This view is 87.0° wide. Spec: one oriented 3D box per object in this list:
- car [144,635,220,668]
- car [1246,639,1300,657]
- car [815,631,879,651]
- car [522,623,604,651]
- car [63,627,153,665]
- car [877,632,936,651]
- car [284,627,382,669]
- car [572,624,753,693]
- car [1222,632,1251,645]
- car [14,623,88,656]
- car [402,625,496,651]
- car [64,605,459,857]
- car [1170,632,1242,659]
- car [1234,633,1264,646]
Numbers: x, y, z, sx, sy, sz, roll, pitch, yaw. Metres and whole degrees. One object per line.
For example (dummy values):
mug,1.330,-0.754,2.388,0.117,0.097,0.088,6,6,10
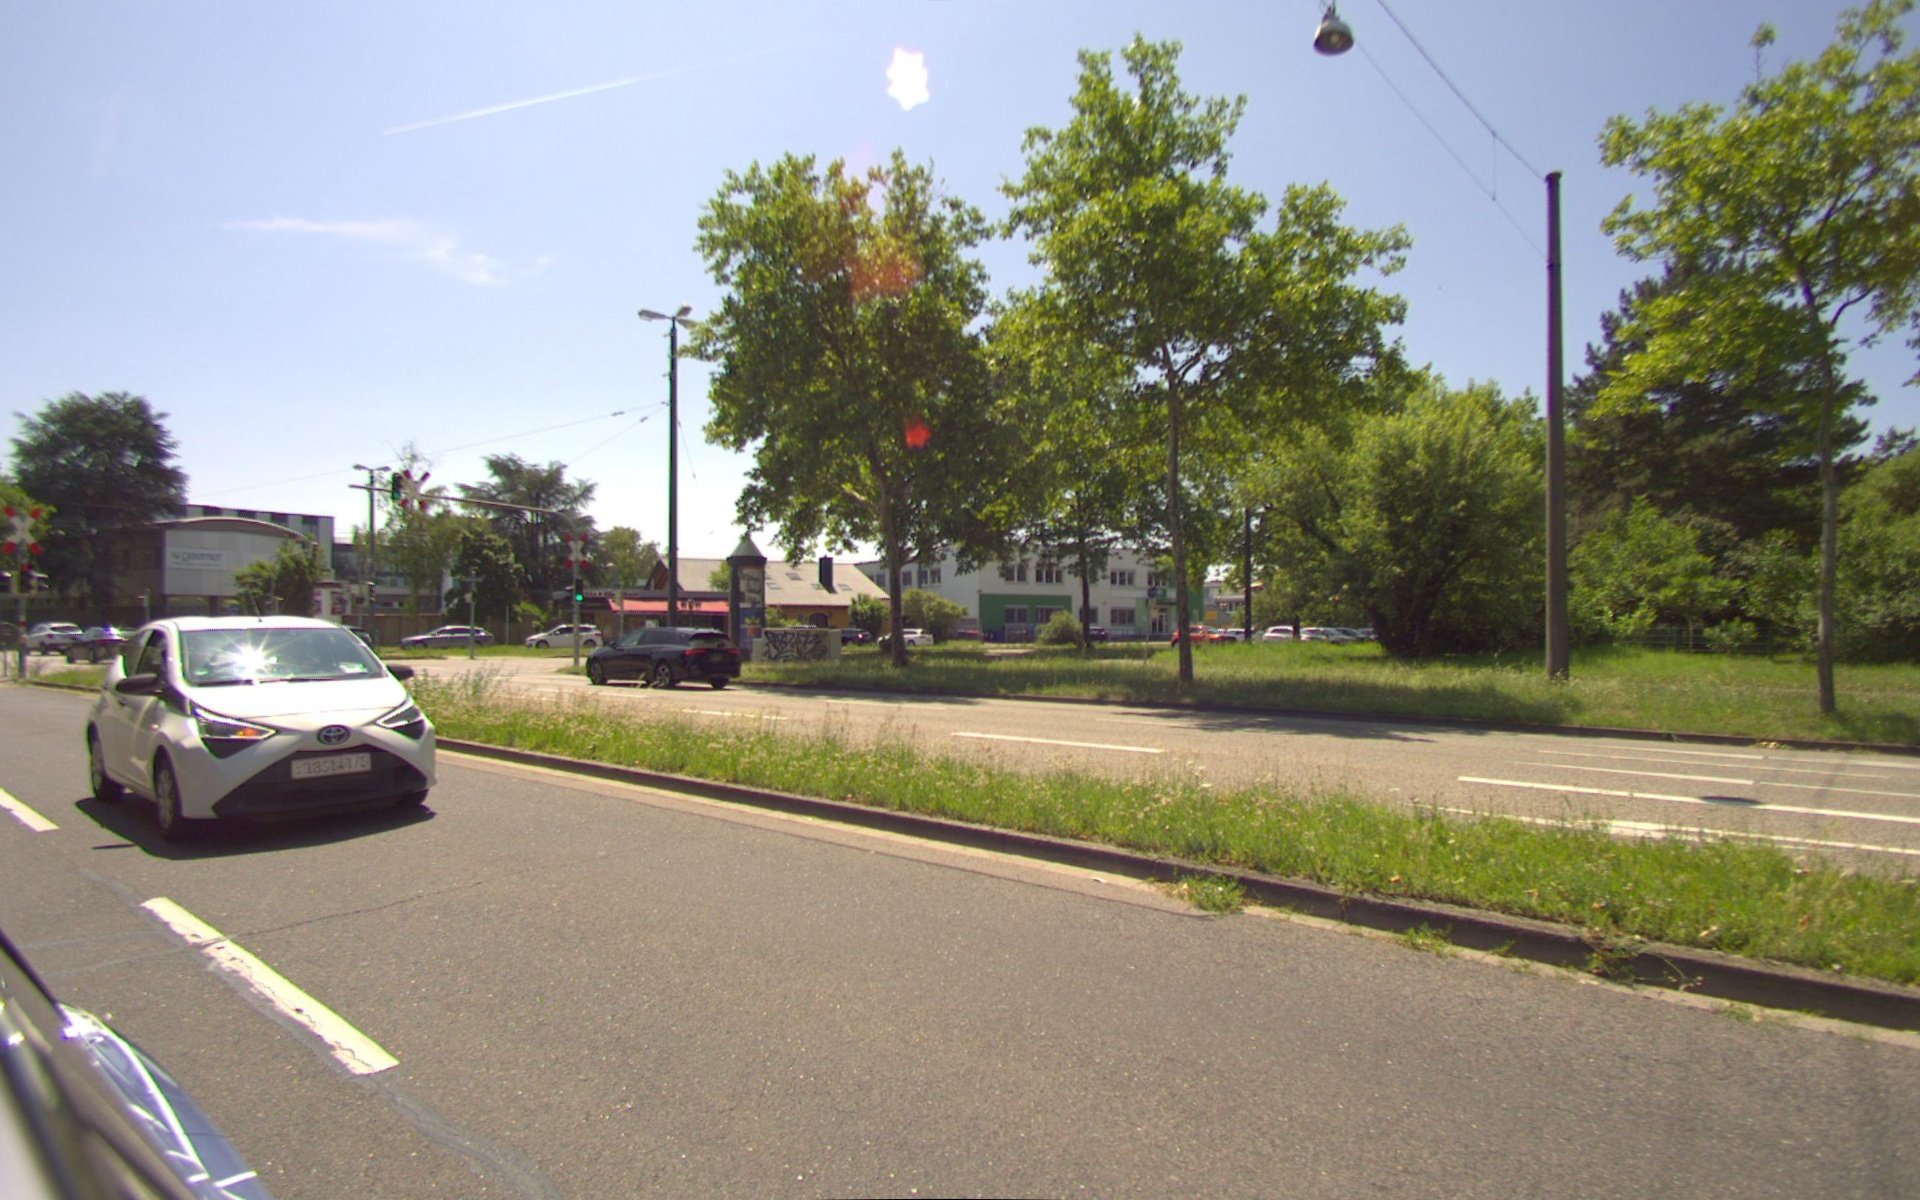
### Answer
car,-34.075,2.227,44.314,3.547,1.372,1.788,-1,-2,37
car,19.952,3.043,64.535,1.367,1.093,3.056,2,-3,-40
car,-8.172,2.947,73.018,4.371,1.422,1.859,-1,-2,30
car,-23.459,2.165,59.802,4.384,1.617,2.224,0,-2,-26
car,-33.529,1.790,39.789,4.170,1.406,1.720,-1,-3,36
car,-4.022,3.098,75.940,4.049,1.434,1.925,-1,-2,33
car,-22.974,1.721,37.043,3.861,1.466,1.705,-1,-2,36
car,-7.242,1.385,24.465,4.585,1.518,1.795,-1,-4,37
car,25.825,3.619,94.467,2.442,1.214,1.111,-1,-2,27
car,-47.222,2.039,52.556,4.390,1.627,1.773,-1,-2,33
car,-28.828,2.126,57.138,4.592,1.391,1.893,1,-2,-33
car,-5.479,0.803,7.777,3.649,1.456,1.602,-1,0,40
car,14.305,2.621,59.099,1.435,1.407,4.146,-1,0,-36
car,27.693,3.770,96.827,2.600,1.214,1.111,-1,-1,27
